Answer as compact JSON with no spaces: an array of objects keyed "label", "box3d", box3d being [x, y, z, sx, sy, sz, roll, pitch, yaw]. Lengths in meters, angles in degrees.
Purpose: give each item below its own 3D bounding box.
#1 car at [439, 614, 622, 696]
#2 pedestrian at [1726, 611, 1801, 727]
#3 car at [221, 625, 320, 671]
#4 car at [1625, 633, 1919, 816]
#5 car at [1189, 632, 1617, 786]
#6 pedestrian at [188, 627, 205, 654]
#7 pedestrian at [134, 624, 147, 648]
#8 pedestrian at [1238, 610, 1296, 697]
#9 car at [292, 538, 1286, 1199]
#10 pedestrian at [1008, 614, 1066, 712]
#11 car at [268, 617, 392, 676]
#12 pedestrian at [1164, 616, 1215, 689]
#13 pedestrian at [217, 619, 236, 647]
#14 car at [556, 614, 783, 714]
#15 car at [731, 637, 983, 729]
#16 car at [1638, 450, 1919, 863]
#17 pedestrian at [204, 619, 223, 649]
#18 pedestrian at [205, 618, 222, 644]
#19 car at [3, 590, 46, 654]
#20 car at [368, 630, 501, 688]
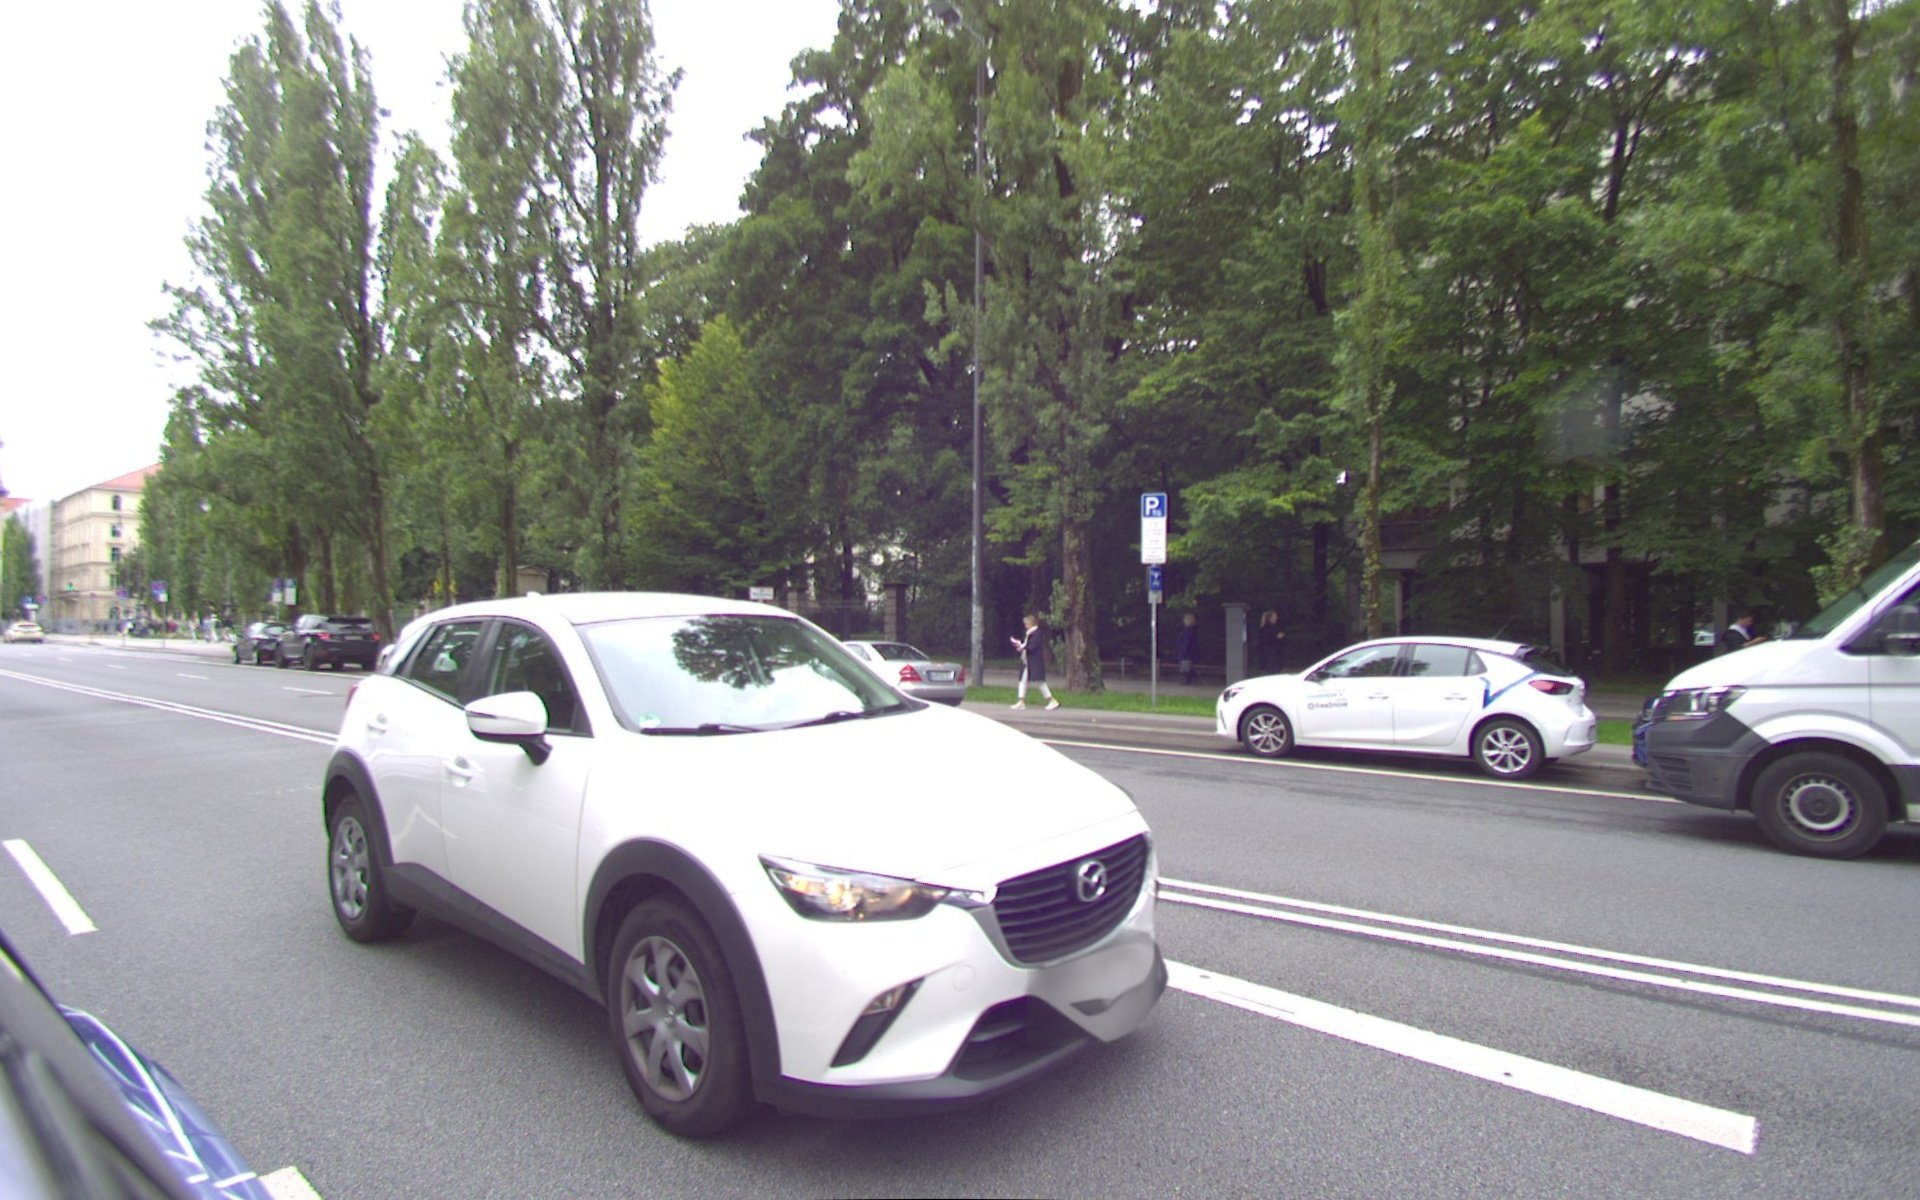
[{"label":"car","box3d":[-10.493,1.310,24.547,5.175,1.803,1.890,-1,-5,40]},{"label":"pedestrian","box3d":[12.868,1.072,16.205,0.889,1.785,0.729,-1,-1,41]},{"label":"car","box3d":[-25.567,1.779,37.485,4.386,1.596,1.924,-1,-4,41]},{"label":"car","box3d":[8.111,1.061,8.954,3.582,1.462,1.692,-1,-4,39]},{"label":"car","box3d":[4.984,1.134,11.698,4.229,1.463,1.753,-1,-4,39]},{"label":"pedestrian","box3d":[-49.617,2.642,65.787,0.885,1.713,0.681,-2,-2,40]},{"label":"pedestrian","box3d":[-59.613,2.640,73.657,0.581,1.744,0.527,-1,-2,29]},{"label":"pedestrian","box3d":[6.351,1.102,20.974,0.956,1.755,0.659,-2,-2,41]},{"label":"car","box3d":[-1.006,0.707,4.087,4.008,1.537,1.884,-2,-2,42]},{"label":"pedestrian","box3d":[1.364,1.102,17.884,0.751,1.677,0.730,-2,-2,41]},{"label":"car","box3d":[-20.797,1.518,33.335,4.796,1.800,2.025,-1,-4,40]},{"label":"pedestrian","box3d":[5.269,1.181,23.234,0.881,1.611,0.729,-1,-1,41]},{"label":"pedestrian","box3d":[-47.262,2.151,65.231,1.092,1.786,0.702,-1,-2,39]},{"label":"car","box3d":[-5.968,1.253,20.487,4.890,1.781,1.922,-1,-5,39]},{"label":"car","box3d":[-1.828,1.344,17.163,4.230,1.344,1.808,-1,-4,40]},{"label":"car","box3d":[8.028,0.355,5.745,6.751,2.502,2.205,-1,-4,40]},{"label":"pedestrian","box3d":[-47.711,2.165,64.666,1.092,1.847,0.702,-1,-2,39]},{"label":"pedestrian","box3d":[-49.137,2.041,66.590,0.910,1.729,0.653,-2,-2,40]},{"label":"car","box3d":[-65.163,1.541,70.524,1.780,1.330,4.507,30,19,-53]},{"label":"car","box3d":[-14.450,1.578,27.738,4.269,1.470,1.687,-1,-4,40]}]
